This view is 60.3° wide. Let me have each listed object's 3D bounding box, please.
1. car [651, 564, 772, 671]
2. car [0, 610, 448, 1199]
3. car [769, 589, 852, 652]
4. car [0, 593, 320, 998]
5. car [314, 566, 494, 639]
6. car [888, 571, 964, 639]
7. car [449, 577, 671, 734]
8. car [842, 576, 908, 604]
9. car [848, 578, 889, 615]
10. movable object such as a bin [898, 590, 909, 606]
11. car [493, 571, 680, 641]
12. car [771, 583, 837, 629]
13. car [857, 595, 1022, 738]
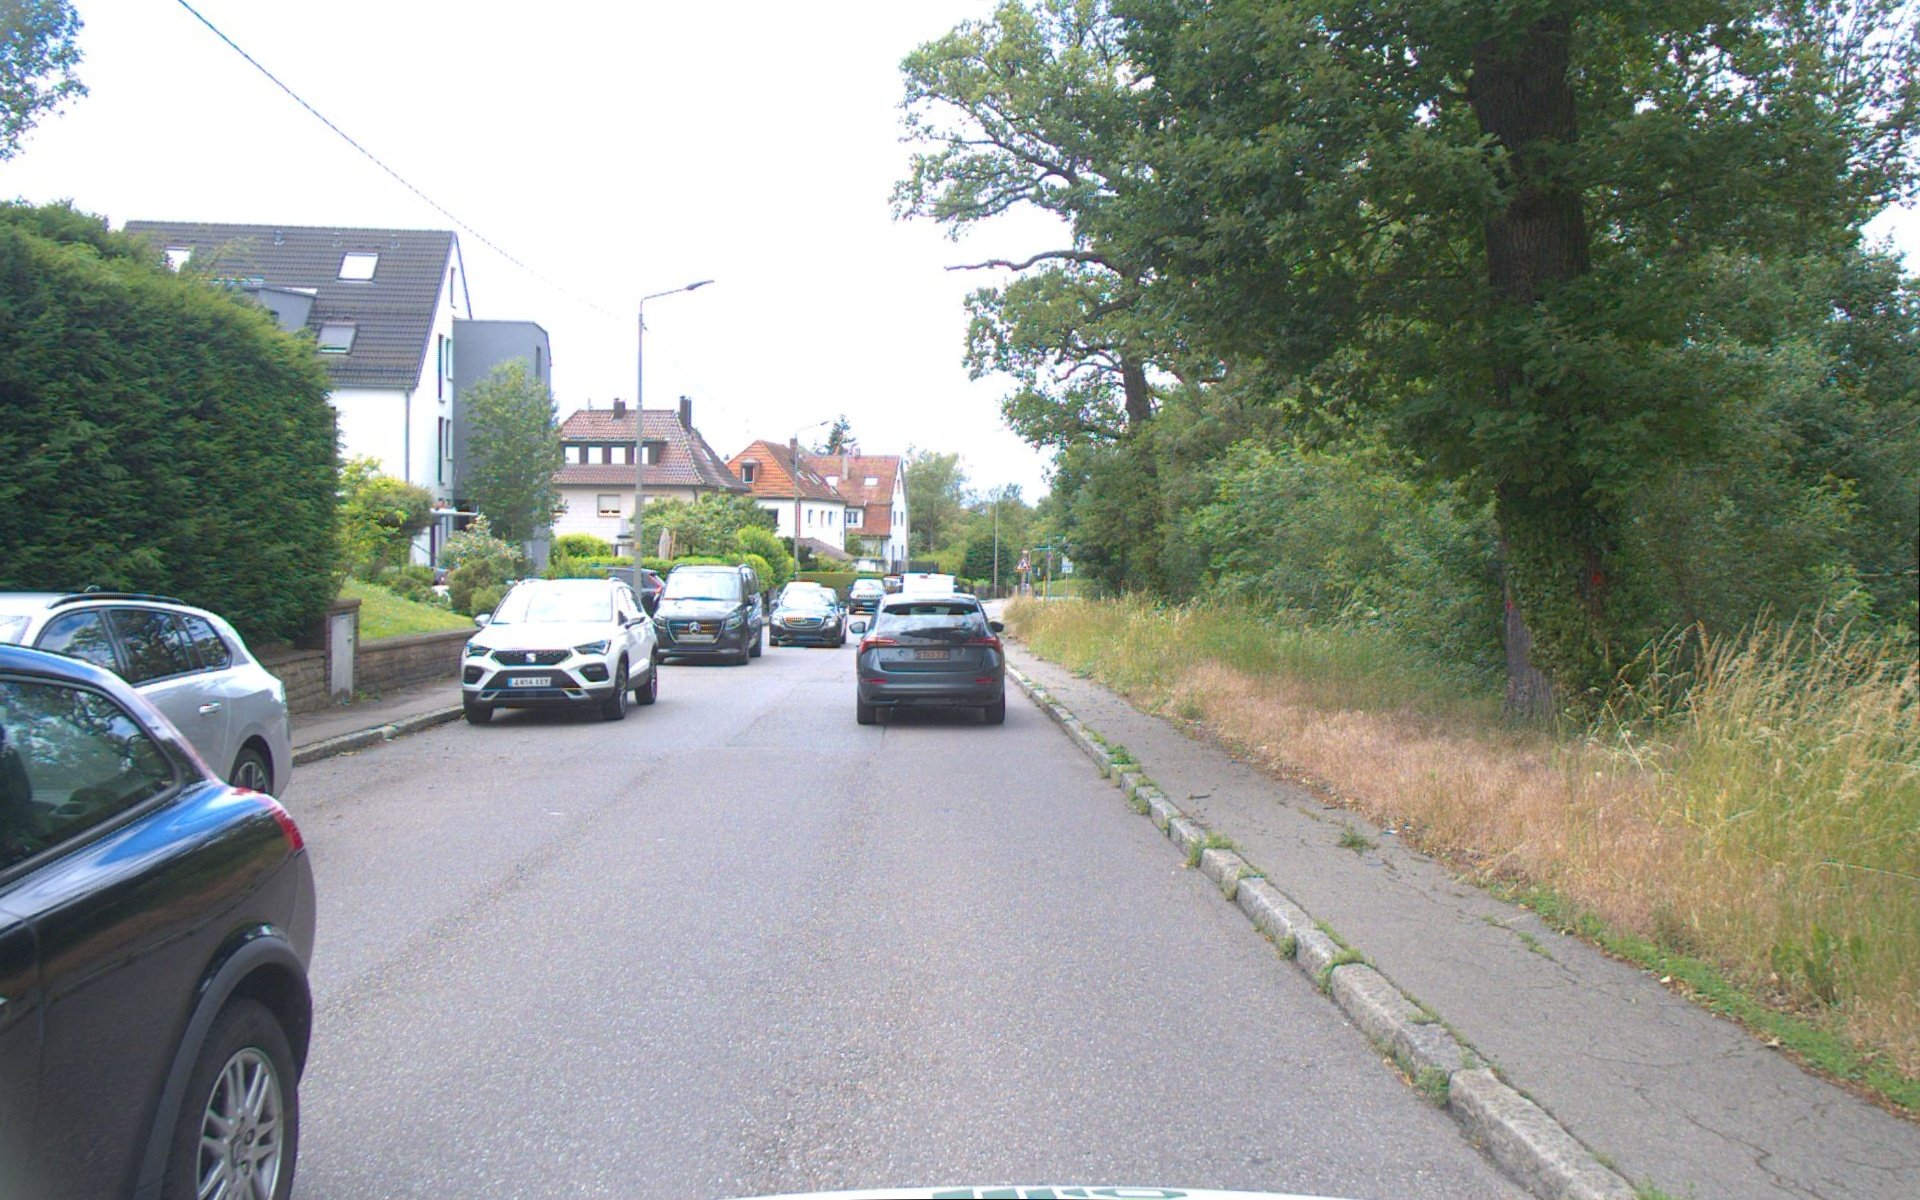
[{"bbox_3d":[-4.951,0.313,33.568,1.825,1.960,5.036,2,0,-2],"label":"car"},{"bbox_3d":[-2.233,0.777,2.359,1.728,1.471,4.472,0,0,-2],"label":"car"},{"bbox_3d":[-3.752,0.481,42.253,1.825,1.439,4.590,2,0,-2],"label":"car"},{"bbox_3d":[-4.536,0.753,7.349,1.728,1.525,4.472,-1,0,-2],"label":"car"},{"bbox_3d":[-14.359,0.045,42.918,4.042,1.726,1.999,1,3,-5],"label":"car"},{"bbox_3d":[-1.102,0.126,50.888,2.031,1.956,4.918,1,0,-5],"label":"car"},{"bbox_3d":[-4.734,0.597,20.166,1.801,1.677,4.184,-1,0,-2],"label":"car"},{"bbox_3d":[-5.361,-0.634,104.582,3.902,1.646,2.002,1,1,7],"label":"car"},{"bbox_3d":[-4.320,-0.210,78.629,1.797,1.624,4.322,1,1,-2],"label":"car"},{"bbox_3d":[-3.485,-0.151,101.283,0.586,0.967,0.580,1,0,5],"label":"movable object such as a bin"},{"bbox_3d":[-9.710,0.149,43.333,4.526,1.727,1.998,1,0,-5],"label":"car"},{"bbox_3d":[-5.505,0.204,58.786,1.746,1.526,4.016,2,0,2],"label":"car"},{"bbox_3d":[-0.350,0.710,19.936,1.694,1.464,4.320,1,1,-4],"label":"car"}]
